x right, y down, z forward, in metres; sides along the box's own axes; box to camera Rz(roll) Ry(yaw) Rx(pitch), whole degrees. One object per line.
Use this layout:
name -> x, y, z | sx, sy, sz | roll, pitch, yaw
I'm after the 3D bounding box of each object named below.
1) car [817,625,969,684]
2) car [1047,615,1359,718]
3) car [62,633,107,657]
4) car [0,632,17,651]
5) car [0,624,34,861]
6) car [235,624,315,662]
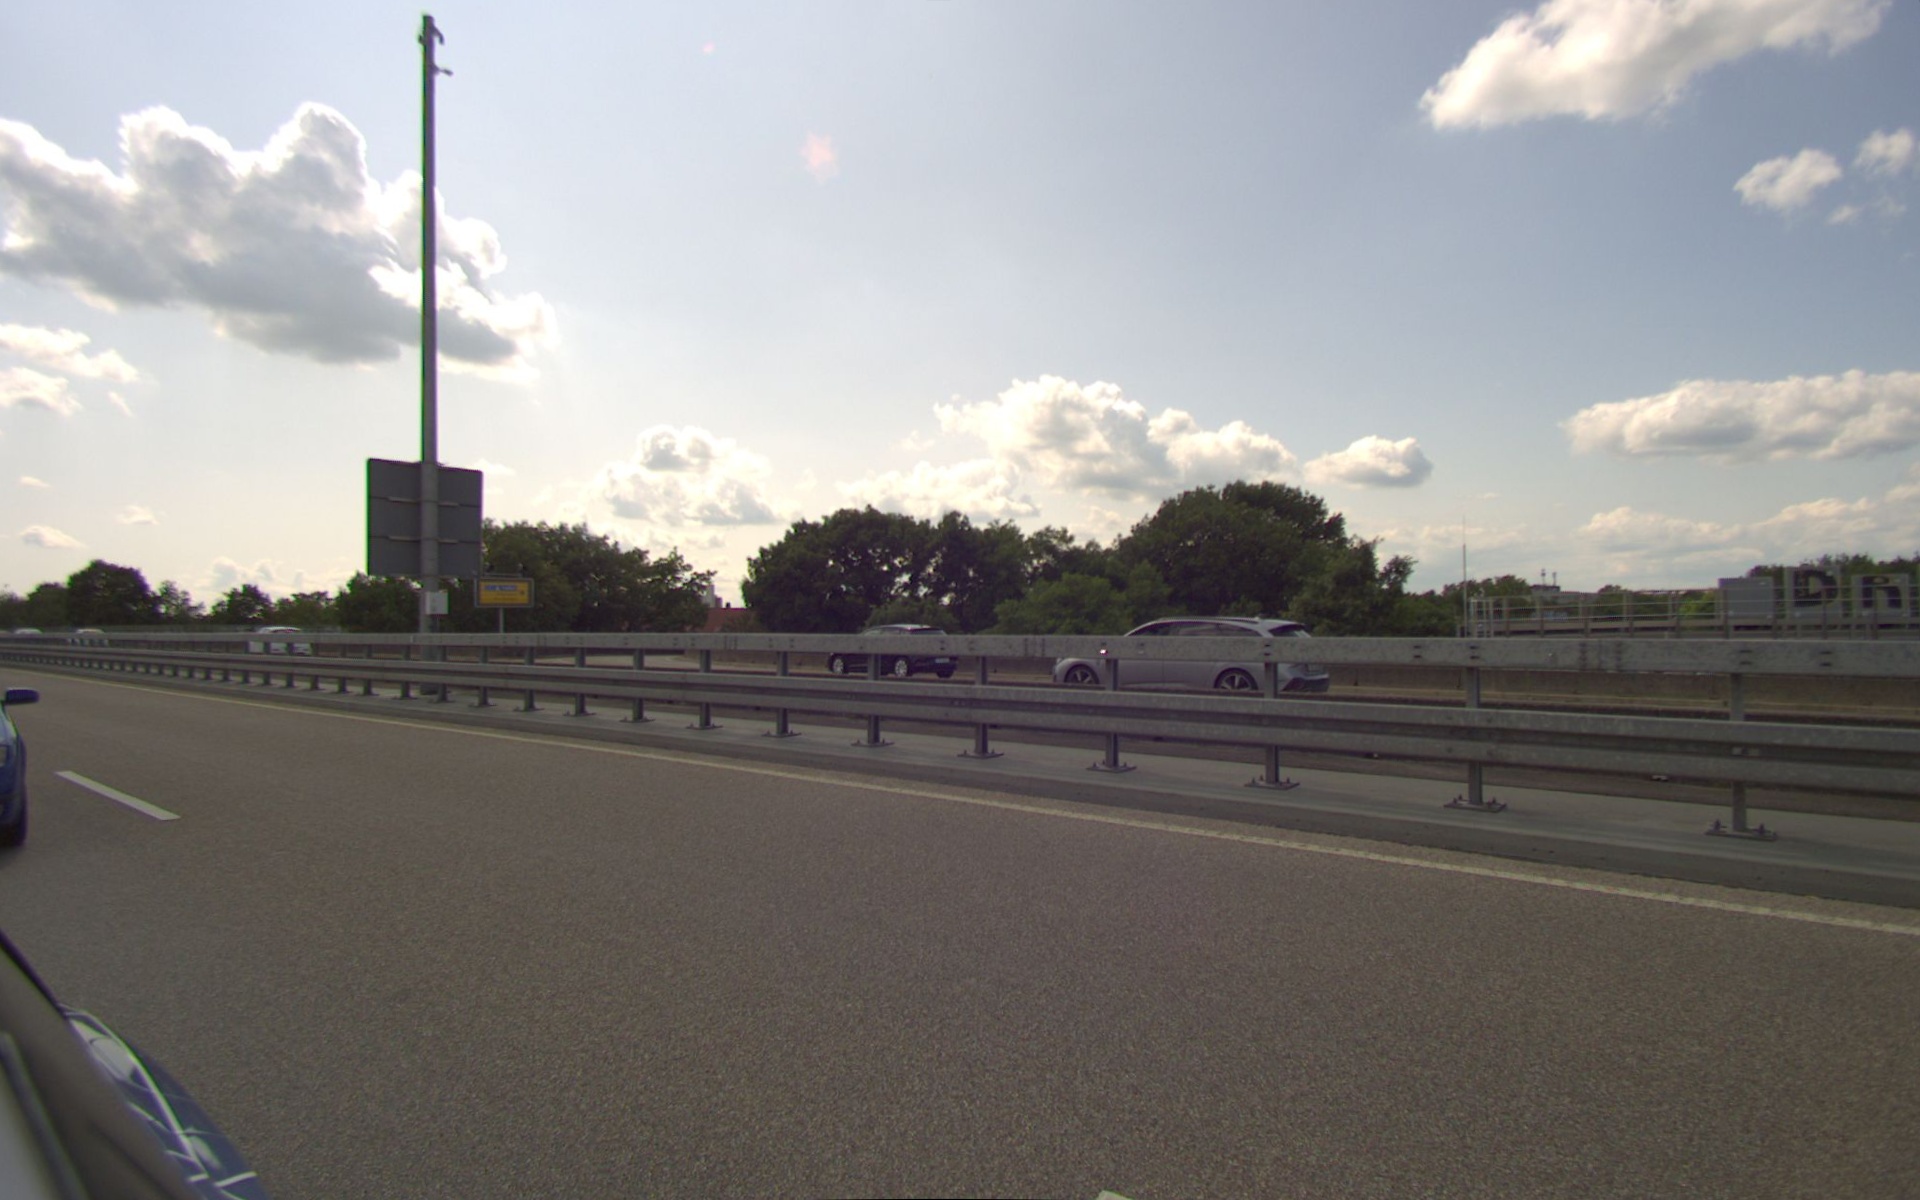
car -> -1.828, 1.400, 26.922 | 3.996, 1.412, 1.661 | -1, -1, 39
car -> 3.817, 0.991, 16.424 | 4.617, 1.431, 1.759 | -1, -1, 40
car -> -61.263, 3.117, 70.812 | 3.950, 1.593, 1.811 | -2, 0, 40
car -> -86.756, 3.748, 91.388 | 3.995, 1.651, 1.804 | -2, 0, 39
car -> -7.634, 0.917, 6.822 | 3.769, 1.422, 1.605 | -2, 0, 41
car -> -31.437, 1.946, 46.393 | 4.708, 1.608, 1.780 | -2, 0, 40
